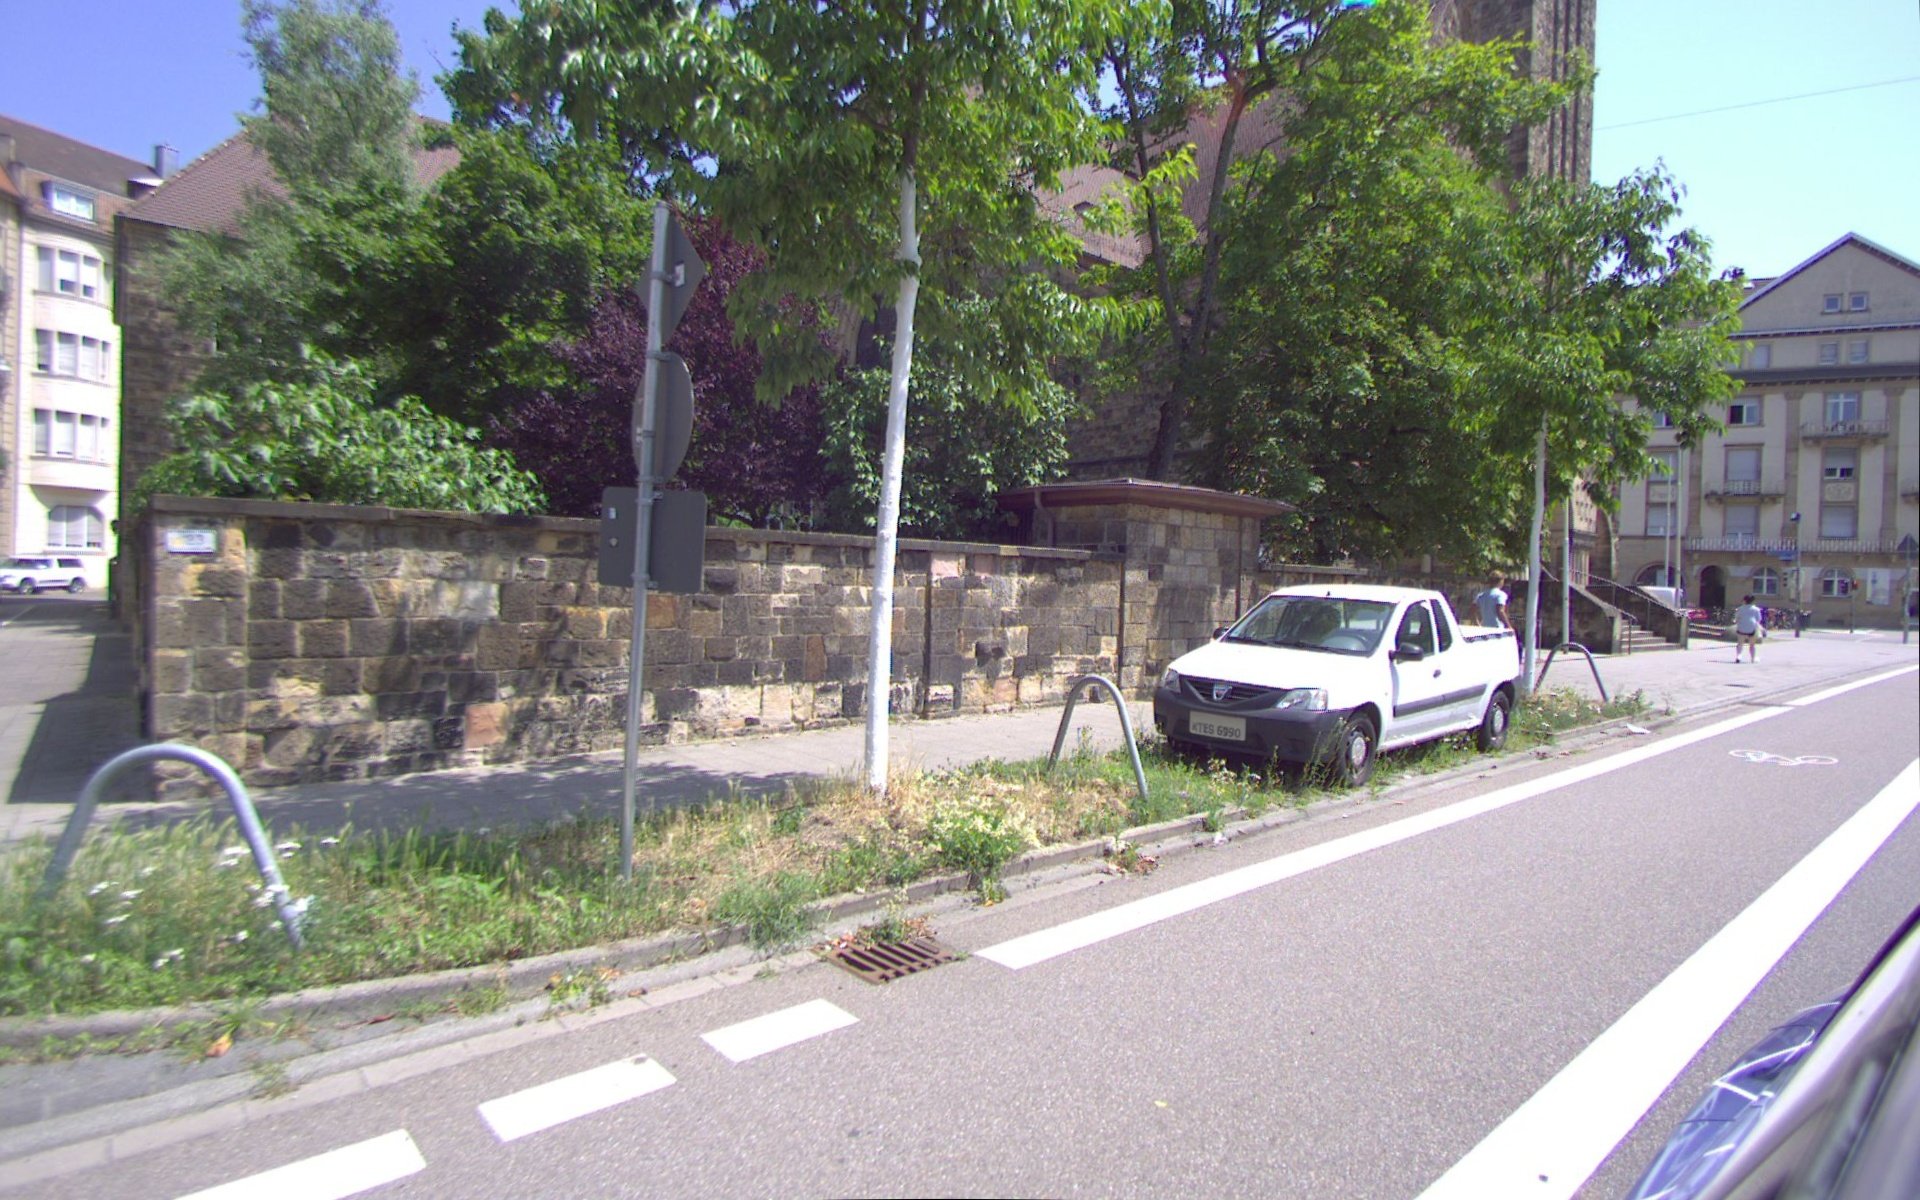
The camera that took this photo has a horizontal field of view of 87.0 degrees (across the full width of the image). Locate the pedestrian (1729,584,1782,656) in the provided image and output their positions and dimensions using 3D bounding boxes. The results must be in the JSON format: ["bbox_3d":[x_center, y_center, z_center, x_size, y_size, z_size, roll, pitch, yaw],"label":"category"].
[{"bbox_3d":[19.018,0.459,24.188,0.949,1.671,0.795,1,0,-39],"label":"pedestrian"}]

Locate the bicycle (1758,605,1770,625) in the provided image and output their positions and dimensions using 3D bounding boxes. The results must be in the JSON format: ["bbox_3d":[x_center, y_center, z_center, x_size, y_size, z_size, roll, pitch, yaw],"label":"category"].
[{"bbox_3d":[49.271,0.927,62.016,0.562,1.165,1.780,1,2,38],"label":"bicycle"}]

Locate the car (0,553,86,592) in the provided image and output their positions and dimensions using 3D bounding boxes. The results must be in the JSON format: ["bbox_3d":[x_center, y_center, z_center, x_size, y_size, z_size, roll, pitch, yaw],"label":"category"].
[{"bbox_3d":[-37.764,-1.137,40.994,1.587,1.497,4.006,1,1,-7],"label":"car"}]

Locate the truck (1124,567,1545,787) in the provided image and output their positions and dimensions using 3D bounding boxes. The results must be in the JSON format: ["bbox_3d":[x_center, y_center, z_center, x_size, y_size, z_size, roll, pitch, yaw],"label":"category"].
[{"bbox_3d":[3.604,0.521,9.288,4.389,1.545,1.792,0,1,-42],"label":"truck"}]

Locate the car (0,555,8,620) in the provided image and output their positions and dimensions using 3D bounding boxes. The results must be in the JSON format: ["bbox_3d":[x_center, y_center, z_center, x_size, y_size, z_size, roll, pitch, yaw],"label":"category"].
[{"bbox_3d":[-21.392,-0.226,21.266,1.751,1.390,3.995,-4,4,-40],"label":"car"}]

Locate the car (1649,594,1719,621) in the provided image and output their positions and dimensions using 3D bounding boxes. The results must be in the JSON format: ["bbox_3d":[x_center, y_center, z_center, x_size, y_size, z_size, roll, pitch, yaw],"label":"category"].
[{"bbox_3d":[44.261,0.434,61.928,1.583,1.497,3.235,-1,3,-15],"label":"car"}]

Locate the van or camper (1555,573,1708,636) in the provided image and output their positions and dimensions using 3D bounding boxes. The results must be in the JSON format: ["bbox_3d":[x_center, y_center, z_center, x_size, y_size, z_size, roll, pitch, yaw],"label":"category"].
[{"bbox_3d":[23.160,0.138,35.004,1.771,1.848,3.995,4,1,-42],"label":"van or camper"}]

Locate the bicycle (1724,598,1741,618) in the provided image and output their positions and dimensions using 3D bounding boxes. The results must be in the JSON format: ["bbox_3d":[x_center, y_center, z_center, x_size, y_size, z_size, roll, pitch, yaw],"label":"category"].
[{"bbox_3d":[46.883,0.478,61.429,0.560,1.165,1.787,1,2,29],"label":"bicycle"}]

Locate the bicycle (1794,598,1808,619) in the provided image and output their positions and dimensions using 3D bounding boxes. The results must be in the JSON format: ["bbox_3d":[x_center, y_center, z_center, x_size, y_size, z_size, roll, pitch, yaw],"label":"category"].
[{"bbox_3d":[50.874,0.514,61.241,0.562,1.165,1.780,1,2,38],"label":"bicycle"}]

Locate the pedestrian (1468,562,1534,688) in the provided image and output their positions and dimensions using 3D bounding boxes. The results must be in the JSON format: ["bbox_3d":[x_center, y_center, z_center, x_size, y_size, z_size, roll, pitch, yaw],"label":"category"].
[{"bbox_3d":[7.876,0.344,14.730,0.666,1.777,0.622,1,0,-39],"label":"pedestrian"}]
